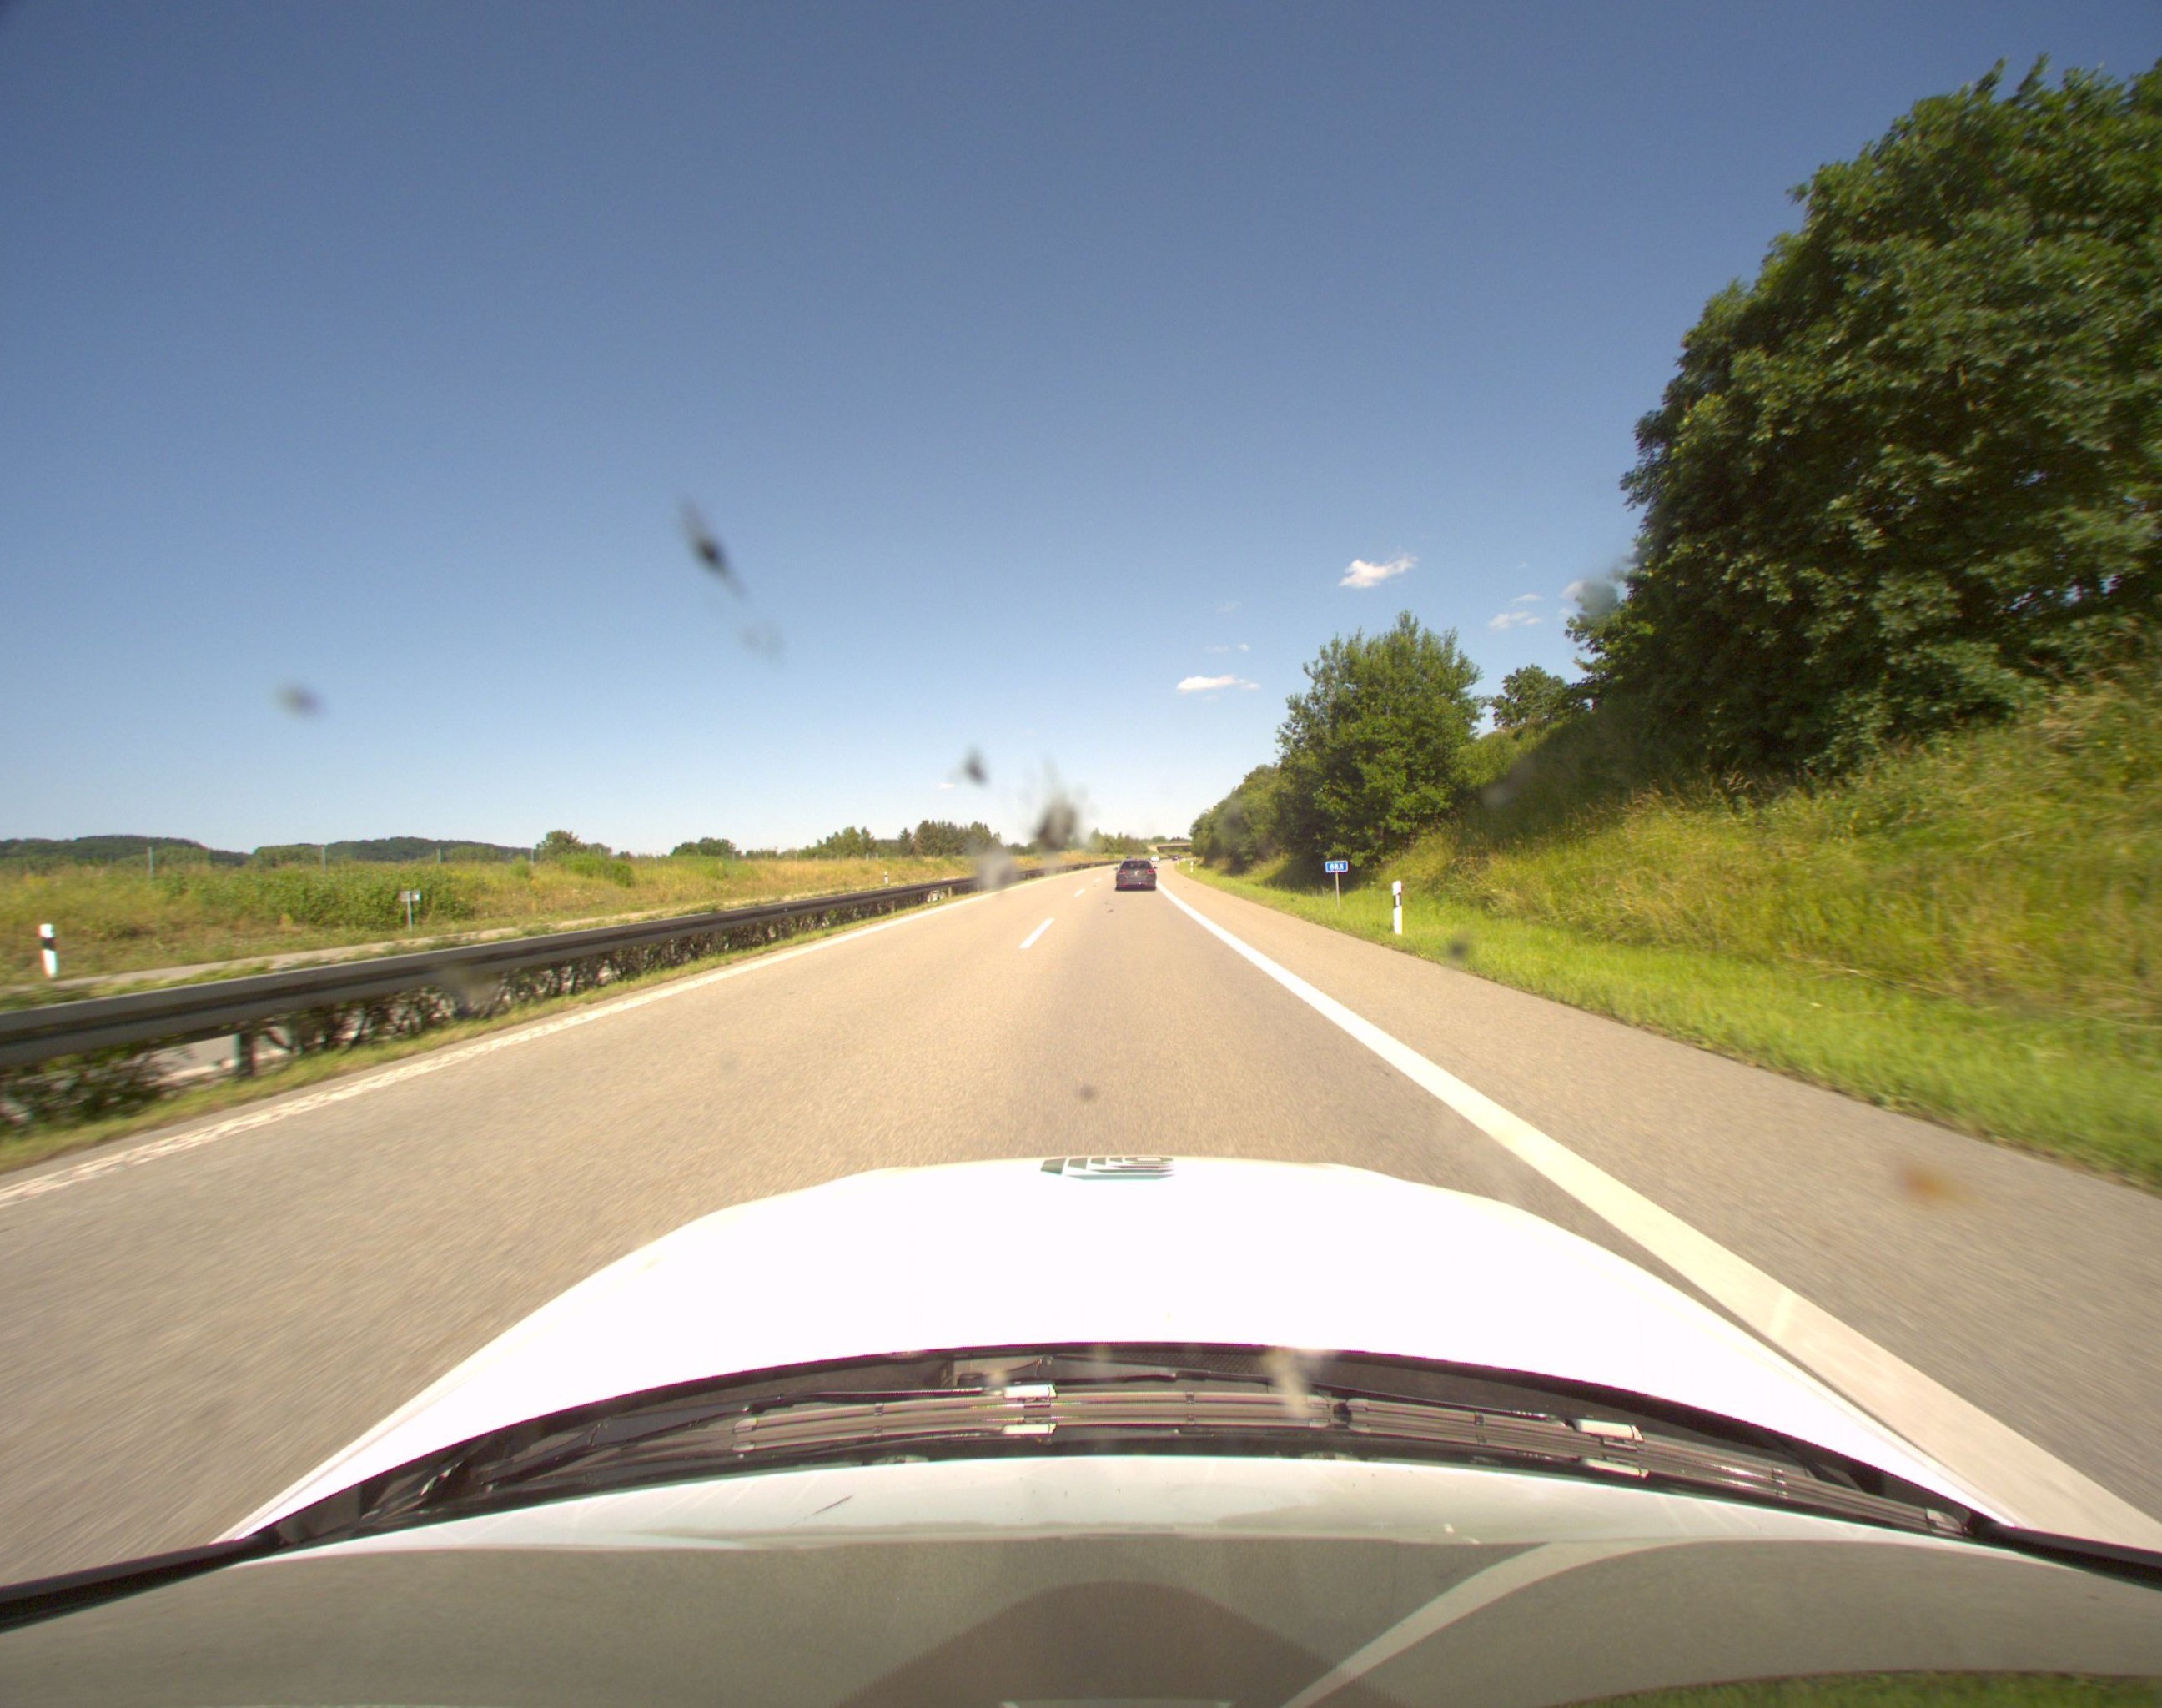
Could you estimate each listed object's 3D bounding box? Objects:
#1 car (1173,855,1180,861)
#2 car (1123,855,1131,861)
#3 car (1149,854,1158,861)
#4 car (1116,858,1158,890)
[{"bbox_3d":[24.054,1.104,205.615,1.701,1.387,3.362,0,-2,8],"label":"car"},{"bbox_3d":[12.999,1.086,229.501,1.821,1.552,4.476,-1,0,8],"label":"car"},{"bbox_3d":[16.722,0.832,188.064,1.997,1.345,4.006,0,-2,6],"label":"car"},{"bbox_3d":[2.557,0.898,36.830,1.782,1.345,4.005,0,-1,5],"label":"car"}]
